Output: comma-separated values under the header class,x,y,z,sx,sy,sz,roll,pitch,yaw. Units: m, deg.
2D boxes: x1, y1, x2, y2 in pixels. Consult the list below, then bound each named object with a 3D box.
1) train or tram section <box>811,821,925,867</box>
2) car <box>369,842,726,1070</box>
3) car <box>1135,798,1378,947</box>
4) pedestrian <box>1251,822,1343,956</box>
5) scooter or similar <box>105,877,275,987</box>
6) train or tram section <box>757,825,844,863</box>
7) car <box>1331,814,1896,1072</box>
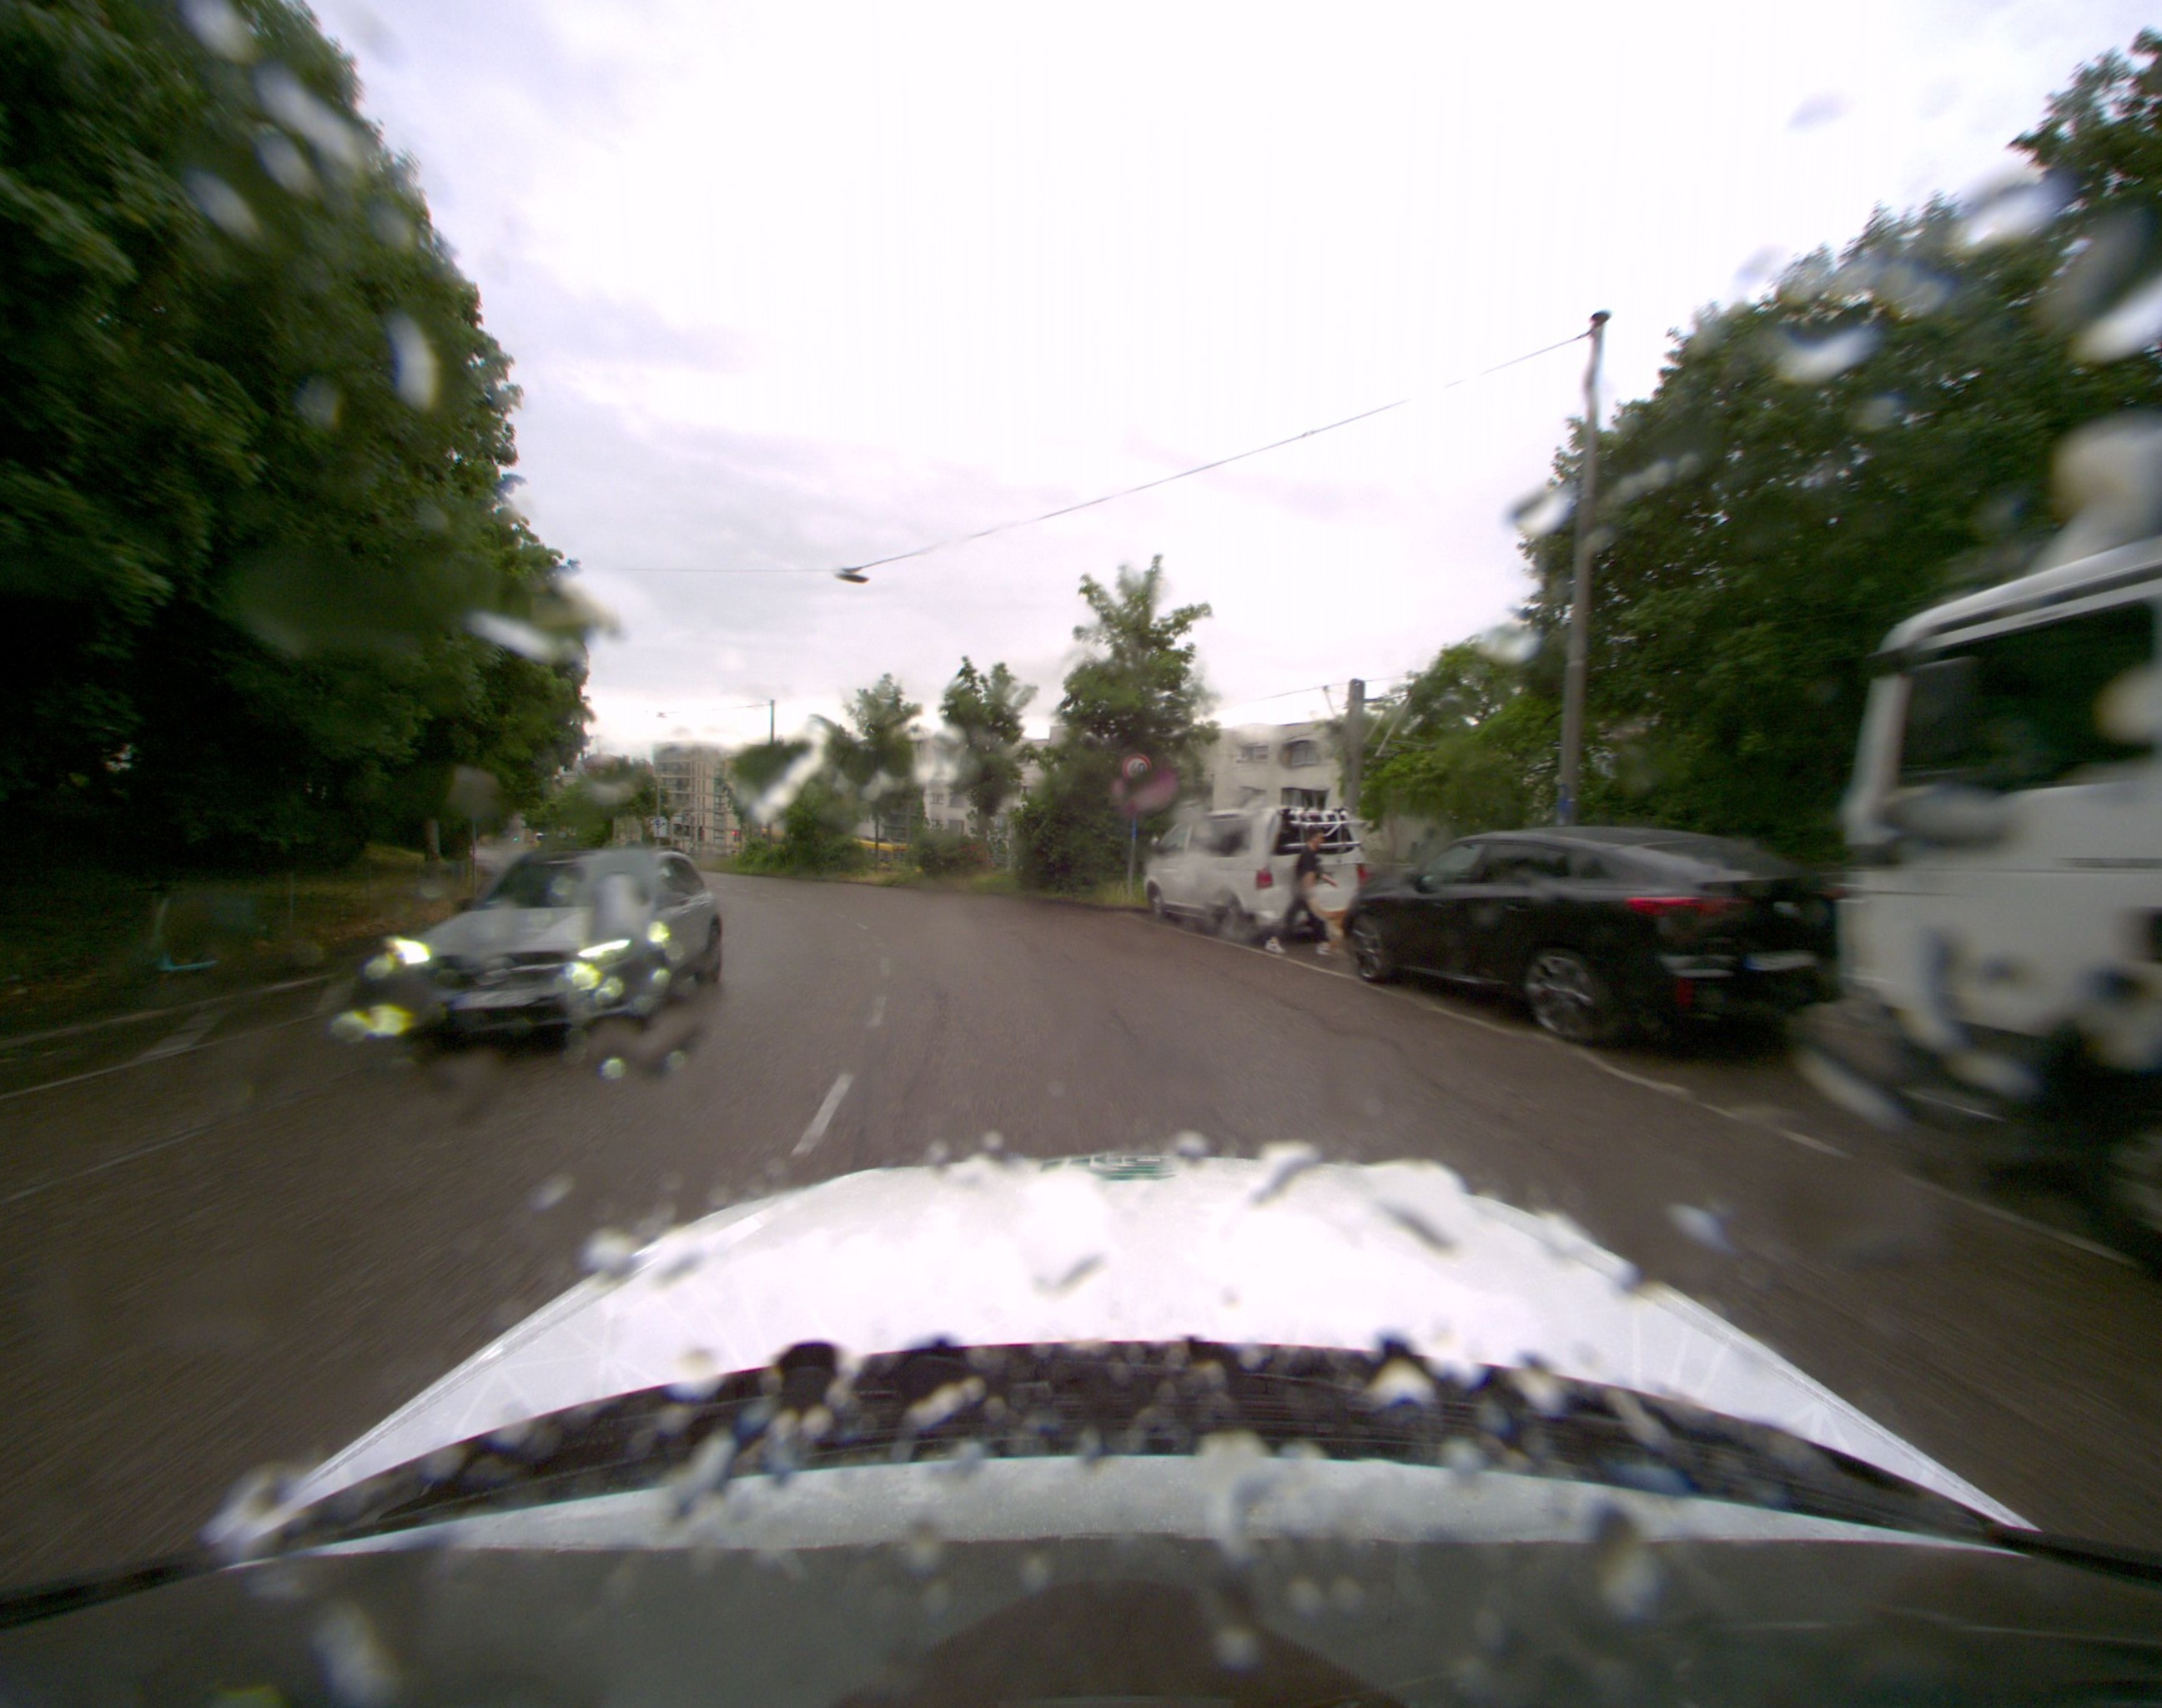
class,x,y,z,sx,sy,sz,roll,pitch,yaw
train or tram section,-21.225,-0.956,79.403,3.358,3.947,19.060,0,0,-39
car,-5.023,0.746,8.445,1.821,1.669,4.287,-2,1,-16
car,2.643,0.213,13.607,1.882,2.013,4.663,-2,1,-18
pedestrian,2.825,0.427,10.724,0.921,1.661,0.804,-2,1,-5
scooter or similar,-11.552,0.971,10.629,0.607,1.268,1.435,3,-1,-4
train or tram section,-32.608,-1.097,93.635,3.358,3.947,18.597,0,0,-39
car,4.101,0.525,7.273,1.719,1.556,4.260,-2,1,-12
